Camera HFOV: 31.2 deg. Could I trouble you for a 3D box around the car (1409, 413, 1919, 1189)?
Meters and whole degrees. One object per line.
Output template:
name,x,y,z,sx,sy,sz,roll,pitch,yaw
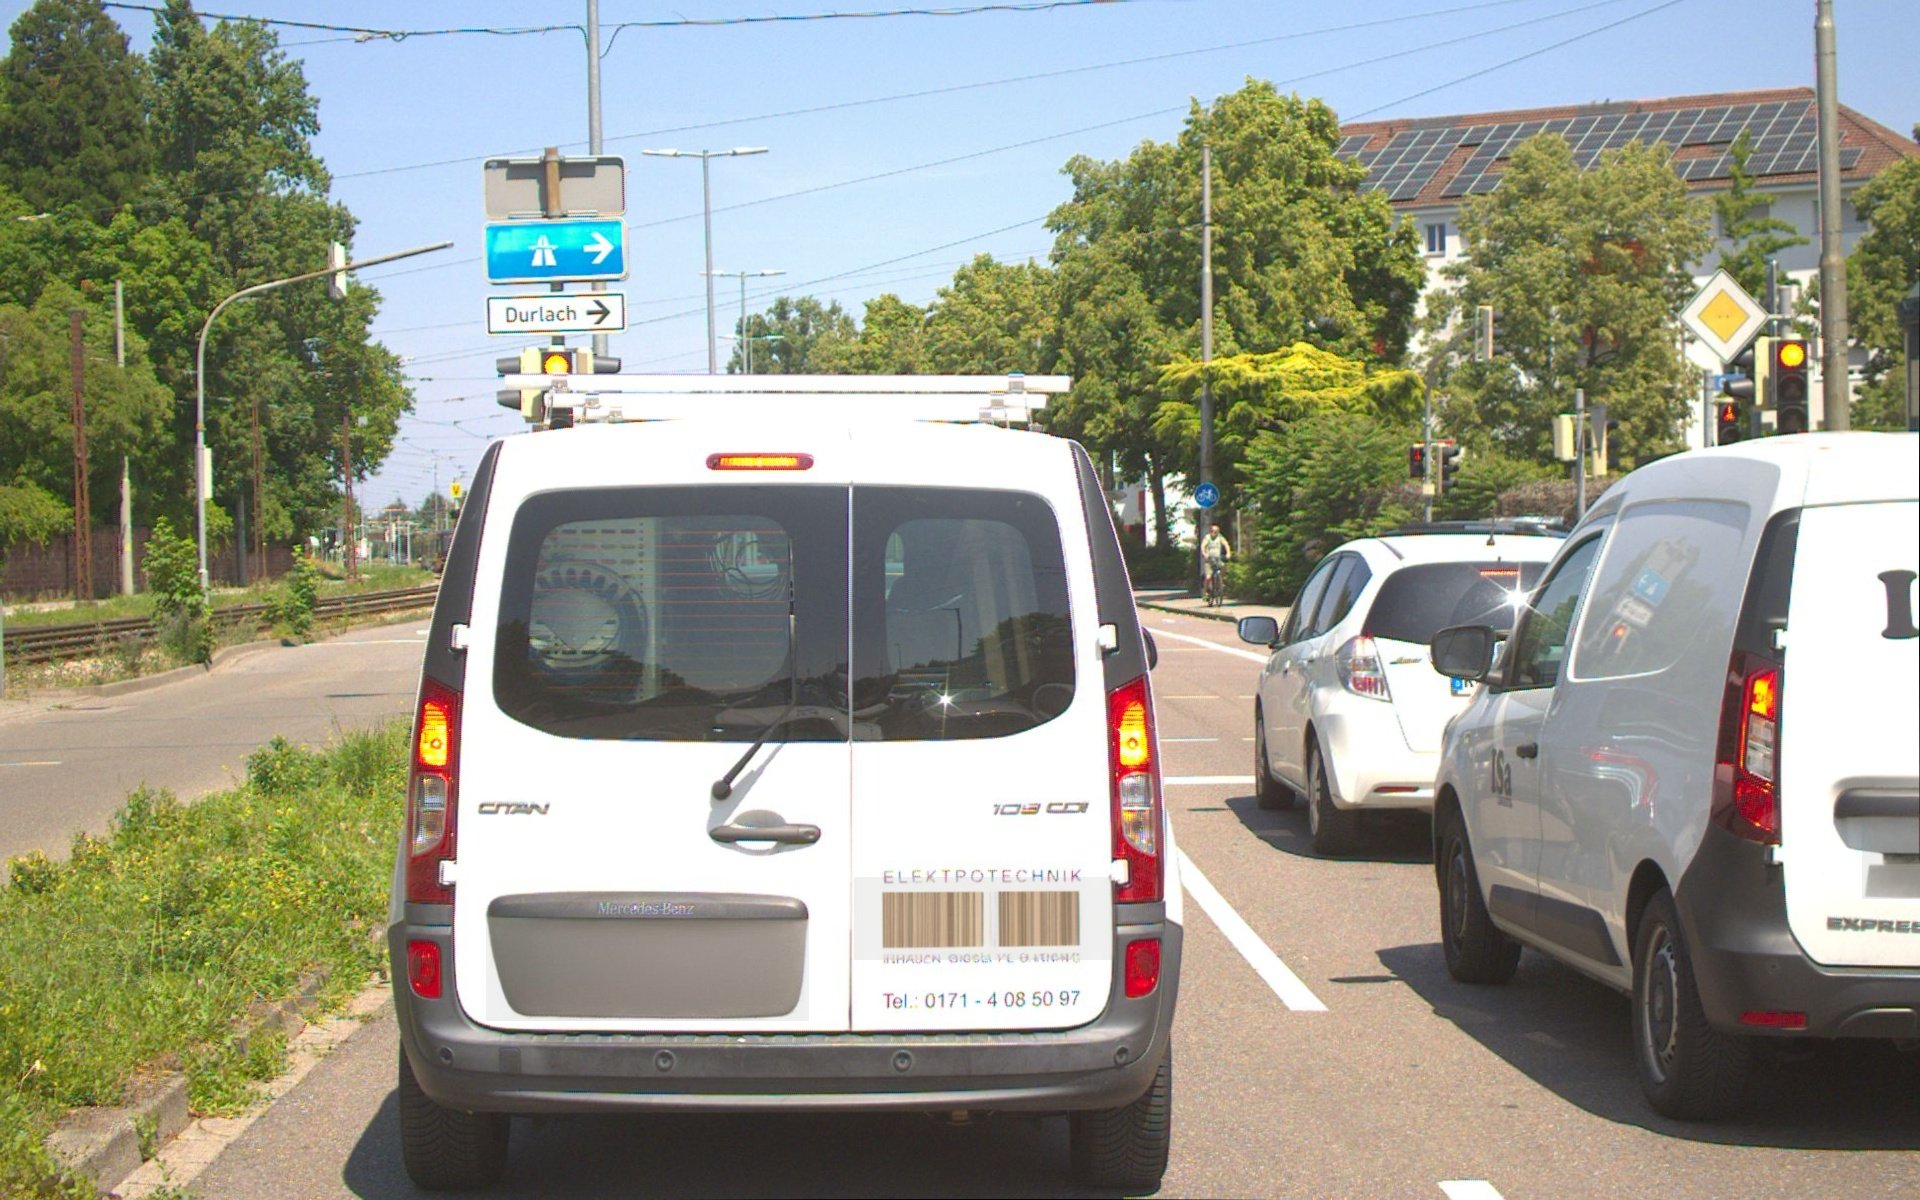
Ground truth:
car,2.543,0.432,10.134,1.710,1.824,4.014,0,1,-3

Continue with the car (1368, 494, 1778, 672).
car,6.729,-0.200,37.763,3.993,1.853,1.997,0,1,30

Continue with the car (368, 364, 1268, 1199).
car,-0.365,0.392,9.099,1.866,1.829,3.849,0,1,-2

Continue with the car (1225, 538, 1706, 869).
car,2.446,0.434,17.591,1.756,1.481,4.000,1,1,-2

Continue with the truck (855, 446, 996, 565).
truck,-1.193,-2.985,109.918,3.575,3.620,8.811,-1,1,-7

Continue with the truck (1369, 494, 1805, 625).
truck,10.050,-0.642,55.024,6.710,2.007,2.305,0,1,15

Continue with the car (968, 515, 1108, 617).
car,1.476,-0.670,66.821,1.993,1.908,4.001,-1,1,-10

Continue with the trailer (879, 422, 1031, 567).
trailer,-0.239,-3.056,101.075,3.527,4.037,8.979,-1,1,-6
